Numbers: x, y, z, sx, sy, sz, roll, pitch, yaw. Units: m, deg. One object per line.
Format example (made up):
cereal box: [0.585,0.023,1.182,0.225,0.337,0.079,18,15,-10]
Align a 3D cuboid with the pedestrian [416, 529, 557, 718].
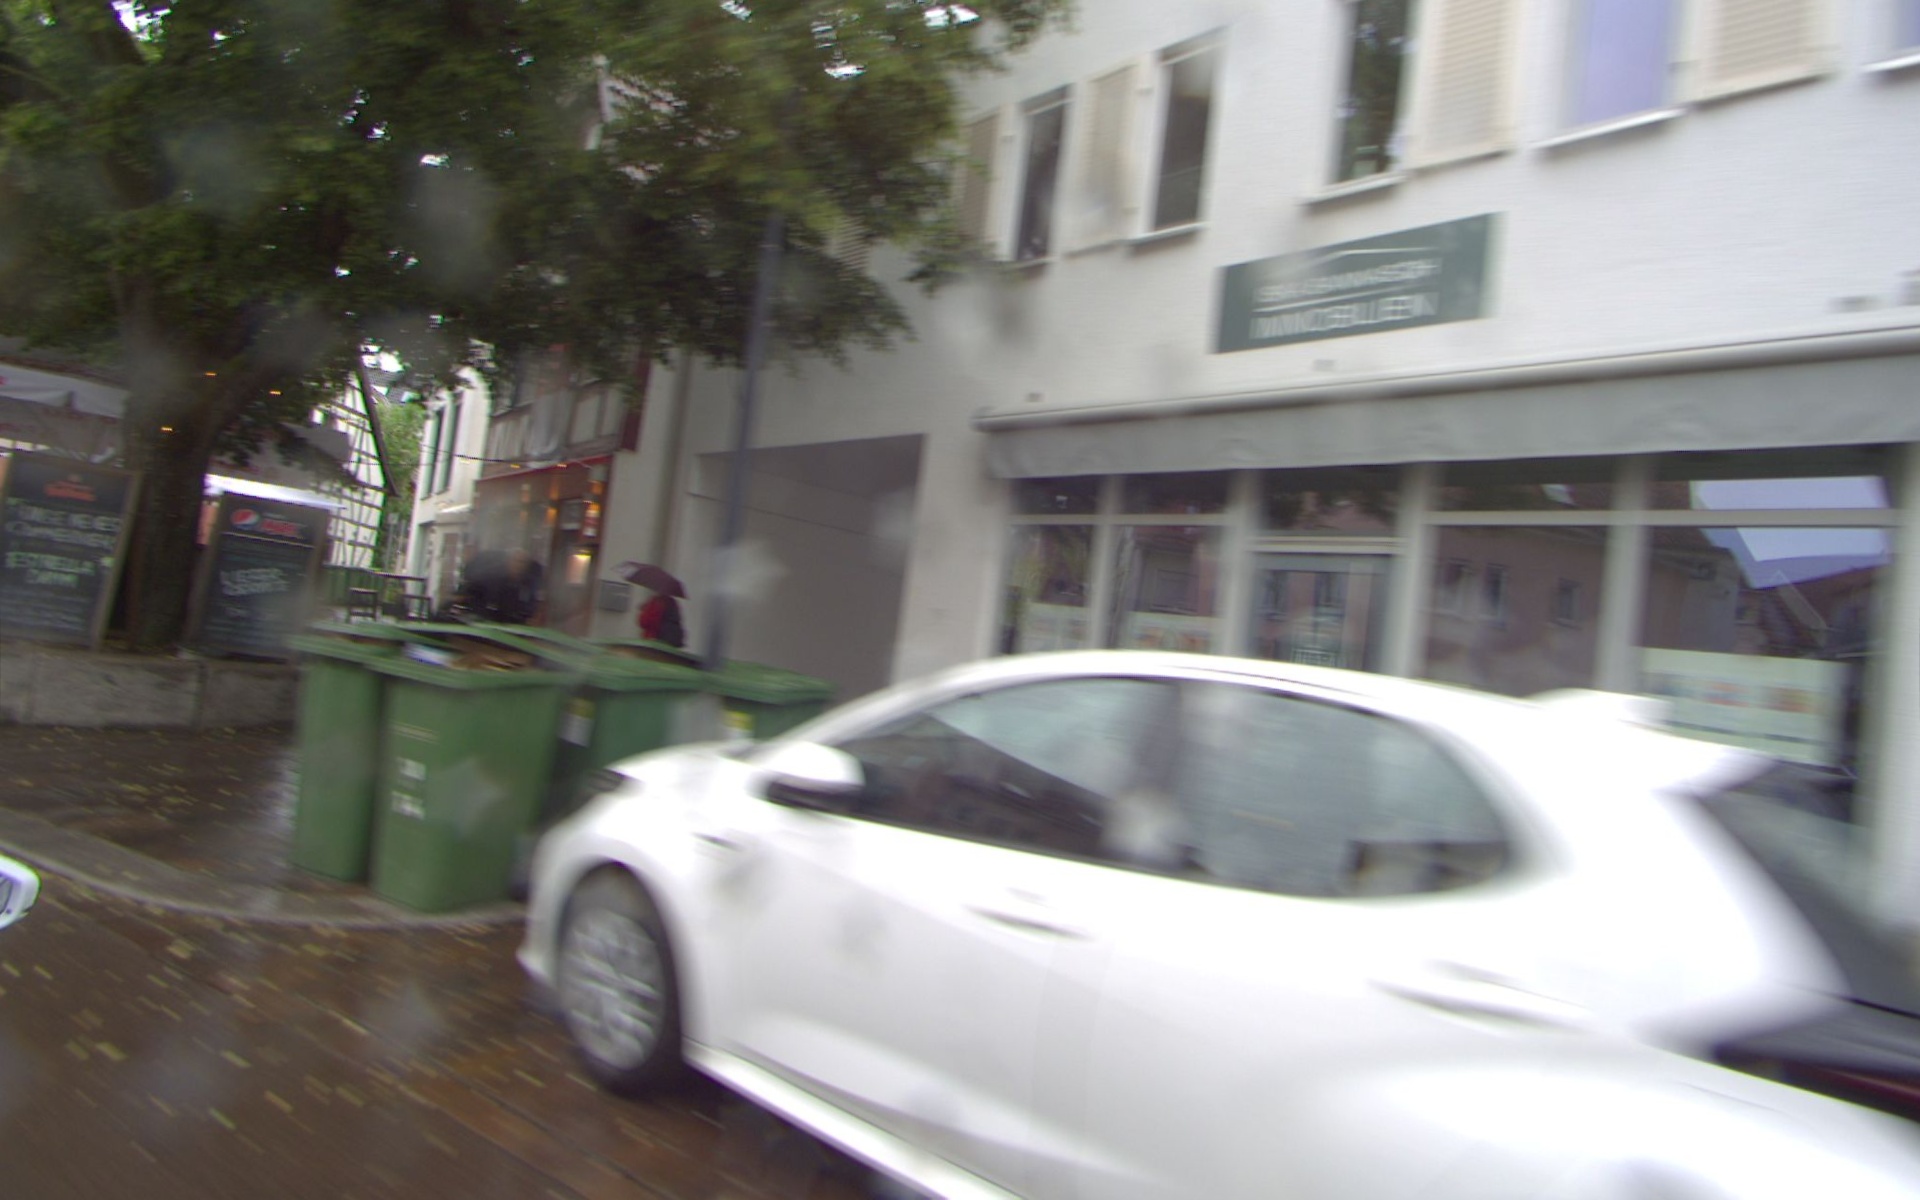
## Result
pedestrian: [-4.644,0.235,9.874,0.907,1.718,0.852,7,-1,-41]

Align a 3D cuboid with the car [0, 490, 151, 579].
car: [-21.710,-1.606,23.337,1.964,1.651,4.618,9,-2,0]

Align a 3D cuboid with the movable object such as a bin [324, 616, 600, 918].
movable object such as a bin: [-2.100,0.677,4.302,0.599,1.105,0.728,5,-3,24]

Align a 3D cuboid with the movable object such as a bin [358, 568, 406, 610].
movable object such as a bin: [-16.449,-0.302,28.638,0.841,1.037,0.698,6,-3,-1]

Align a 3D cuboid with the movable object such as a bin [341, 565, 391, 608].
movable object such as a bin: [-16.449,-0.357,27.861,0.841,1.037,0.698,6,-3,-1]

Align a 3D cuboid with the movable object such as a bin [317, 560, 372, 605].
movable object such as a bin: [-16.458,-0.462,26.923,0.841,1.034,0.831,6,-3,-1]

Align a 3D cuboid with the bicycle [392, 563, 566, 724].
bicycle: [-4.877,0.399,10.110,0.921,1.367,2.191,7,-1,-41]

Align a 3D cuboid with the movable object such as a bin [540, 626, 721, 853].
movable object such as a bin: [-1.902,0.777,5.820,0.716,1.144,0.539,7,0,31]

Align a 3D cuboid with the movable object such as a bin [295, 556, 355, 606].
movable object such as a bin: [-16.418,-0.472,26.030,0.841,1.123,0.880,6,-3,-1]

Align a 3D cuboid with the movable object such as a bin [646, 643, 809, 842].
movable object such as a bin: [-1.466,0.875,6.362,0.716,1.096,0.538,7,0,31]

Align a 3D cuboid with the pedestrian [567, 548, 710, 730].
pedestrian: [-3.308,0.407,10.379,0.876,1.732,0.885,4,-4,37]

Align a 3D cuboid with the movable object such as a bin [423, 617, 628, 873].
movable object such as a bin: [-2.251,0.719,5.222,0.716,1.156,0.539,7,0,31]

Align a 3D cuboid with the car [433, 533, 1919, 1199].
car: [0.478,0.819,2.919,3.886,1.573,1.790,6,-2,34]

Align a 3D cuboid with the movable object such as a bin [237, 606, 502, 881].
movable object such as a bin: [-2.680,0.633,4.618,0.594,1.095,0.728,5,-3,24]
